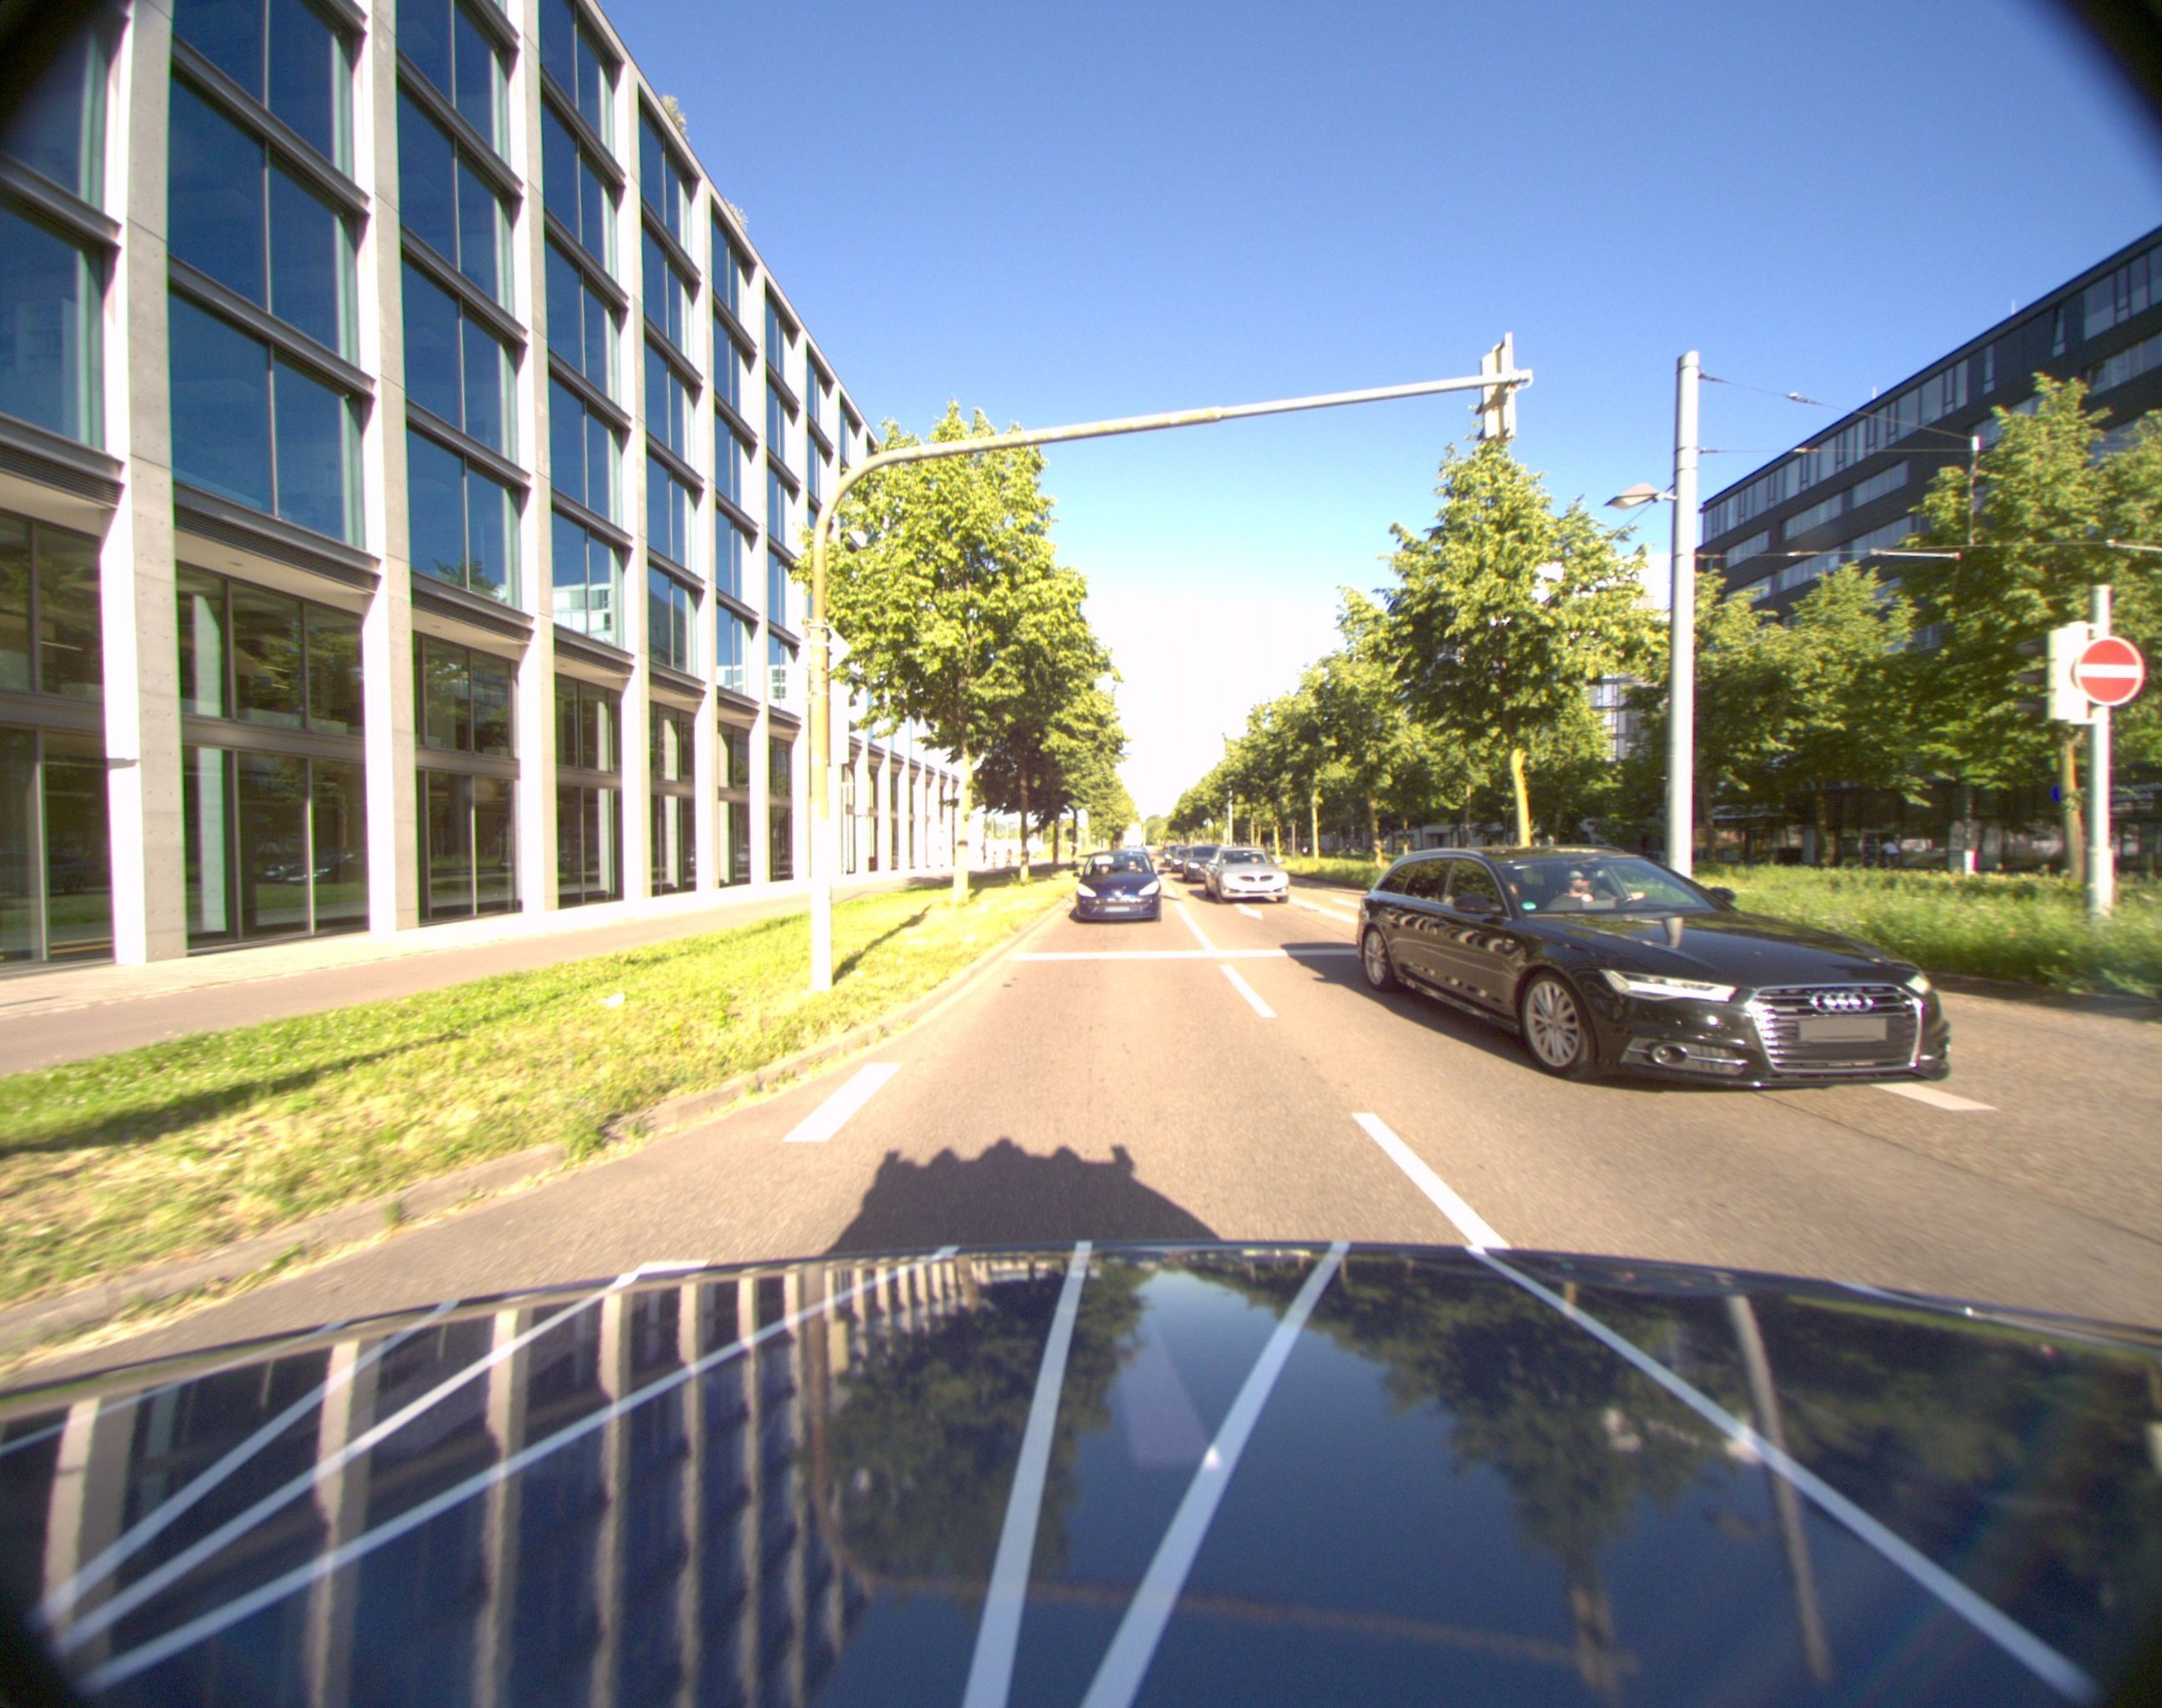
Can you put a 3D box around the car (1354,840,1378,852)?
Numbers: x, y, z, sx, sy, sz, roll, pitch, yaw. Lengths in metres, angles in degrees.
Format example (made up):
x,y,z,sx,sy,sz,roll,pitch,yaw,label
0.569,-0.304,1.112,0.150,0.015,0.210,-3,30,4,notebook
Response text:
x,y,z,sx,sy,sz,roll,pitch,yaw,label
42.665,-1.229,113.972,2.011,1.689,4.792,0,1,3,car

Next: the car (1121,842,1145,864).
x,y,z,sx,sy,sz,roll,pitch,yaw,label
3.897,-0.105,56.395,1.705,1.591,3.786,0,1,5,car

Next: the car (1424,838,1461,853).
x,y,z,sx,sy,sz,roll,pitch,yaw,label
40.906,-0.969,86.184,2.011,1.689,4.791,0,1,1,car

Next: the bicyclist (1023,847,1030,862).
x,y,z,sx,sy,sz,roll,pitch,yaw,label
-4.616,0.053,64.350,0.534,1.282,0.521,-1,2,5,bicyclist

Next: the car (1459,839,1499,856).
x,y,z,sx,sy,sz,roll,pitch,yaw,label
39.791,-0.688,76.114,1.858,1.674,4.793,0,1,5,car

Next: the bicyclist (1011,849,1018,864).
x,y,z,sx,sy,sz,roll,pitch,yaw,label
-5.696,0.206,64.975,0.534,1.282,0.457,-1,2,5,bicyclist

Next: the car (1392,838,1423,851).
x,y,z,sx,sy,sz,roll,pitch,yaw,label
41.422,-1.232,96.511,2.011,1.689,4.791,0,1,1,car

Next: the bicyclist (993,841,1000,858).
x,y,z,sx,sy,sz,roll,pitch,yaw,label
-6.693,-0.375,59.918,0.448,1.282,0.418,-1,2,5,bicyclist

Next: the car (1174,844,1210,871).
x,y,z,sx,sy,sz,roll,pitch,yaw,label
6.174,0.167,42.755,1.812,1.446,4.255,0,1,6,car

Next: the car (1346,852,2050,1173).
x,y,z,sx,sy,sz,roll,pitch,yaw,label
3.744,0.760,5.897,1.812,1.449,4.507,-1,1,0,car

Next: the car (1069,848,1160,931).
x,y,z,sx,sy,sz,roll,pitch,yaw,label
0.798,0.681,16.547,1.685,1.514,3.786,-2,1,5,car

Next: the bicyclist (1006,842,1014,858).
x,y,z,sx,sy,sz,roll,pitch,yaw,label
-5.567,-0.318,59.838,0.534,1.210,0.507,-1,2,5,bicyclist

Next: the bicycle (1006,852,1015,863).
x,y,z,sx,sy,sz,roll,pitch,yaw,label
-5.553,0.263,59.810,0.464,0.813,1.345,-1,2,5,bicycle

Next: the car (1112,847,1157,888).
x,y,z,sx,sy,sz,roll,pitch,yaw,label
2.132,0.463,29.703,1.611,1.463,4.396,0,1,5,car

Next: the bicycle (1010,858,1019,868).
x,y,z,sx,sy,sz,roll,pitch,yaw,label
-5.694,0.758,64.945,0.464,0.813,1.345,-1,2,5,bicycle

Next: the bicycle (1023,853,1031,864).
x,y,z,sx,sy,sz,roll,pitch,yaw,label
-4.589,0.373,64.360,0.464,0.813,1.345,-1,2,5,bicycle

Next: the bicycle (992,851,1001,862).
x,y,z,sx,sy,sz,roll,pitch,yaw,label
-6.661,0.220,59.923,0.415,0.813,1.320,-1,2,5,bicycle

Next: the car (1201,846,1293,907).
x,y,z,sx,sy,sz,roll,pitch,yaw,label
4.485,0.532,21.215,1.812,1.480,4.743,0,1,4,car

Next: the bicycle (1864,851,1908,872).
x,y,z,sx,sy,sz,roll,pitch,yaw,label
43.065,0.383,40.681,0.528,1.028,1.848,-1,2,5,bicycle

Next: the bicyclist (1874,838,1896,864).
x,y,z,sx,sy,sz,roll,pitch,yaw,label
43.041,-0.155,40.664,0.493,1.398,0.626,-1,2,5,bicyclist

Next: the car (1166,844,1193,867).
x,y,z,sx,sy,sz,roll,pitch,yaw,label
7.019,0.090,54.556,1.812,1.581,4.166,0,1,6,car

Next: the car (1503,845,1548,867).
x,y,z,sx,sy,sz,roll,pitch,yaw,label
38.608,0.145,66.066,1.858,1.739,4.001,0,1,5,car

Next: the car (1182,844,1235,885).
x,y,z,sx,sy,sz,roll,pitch,yaw,label
5.132,0.376,30.964,1.812,1.514,4.029,0,1,5,car
